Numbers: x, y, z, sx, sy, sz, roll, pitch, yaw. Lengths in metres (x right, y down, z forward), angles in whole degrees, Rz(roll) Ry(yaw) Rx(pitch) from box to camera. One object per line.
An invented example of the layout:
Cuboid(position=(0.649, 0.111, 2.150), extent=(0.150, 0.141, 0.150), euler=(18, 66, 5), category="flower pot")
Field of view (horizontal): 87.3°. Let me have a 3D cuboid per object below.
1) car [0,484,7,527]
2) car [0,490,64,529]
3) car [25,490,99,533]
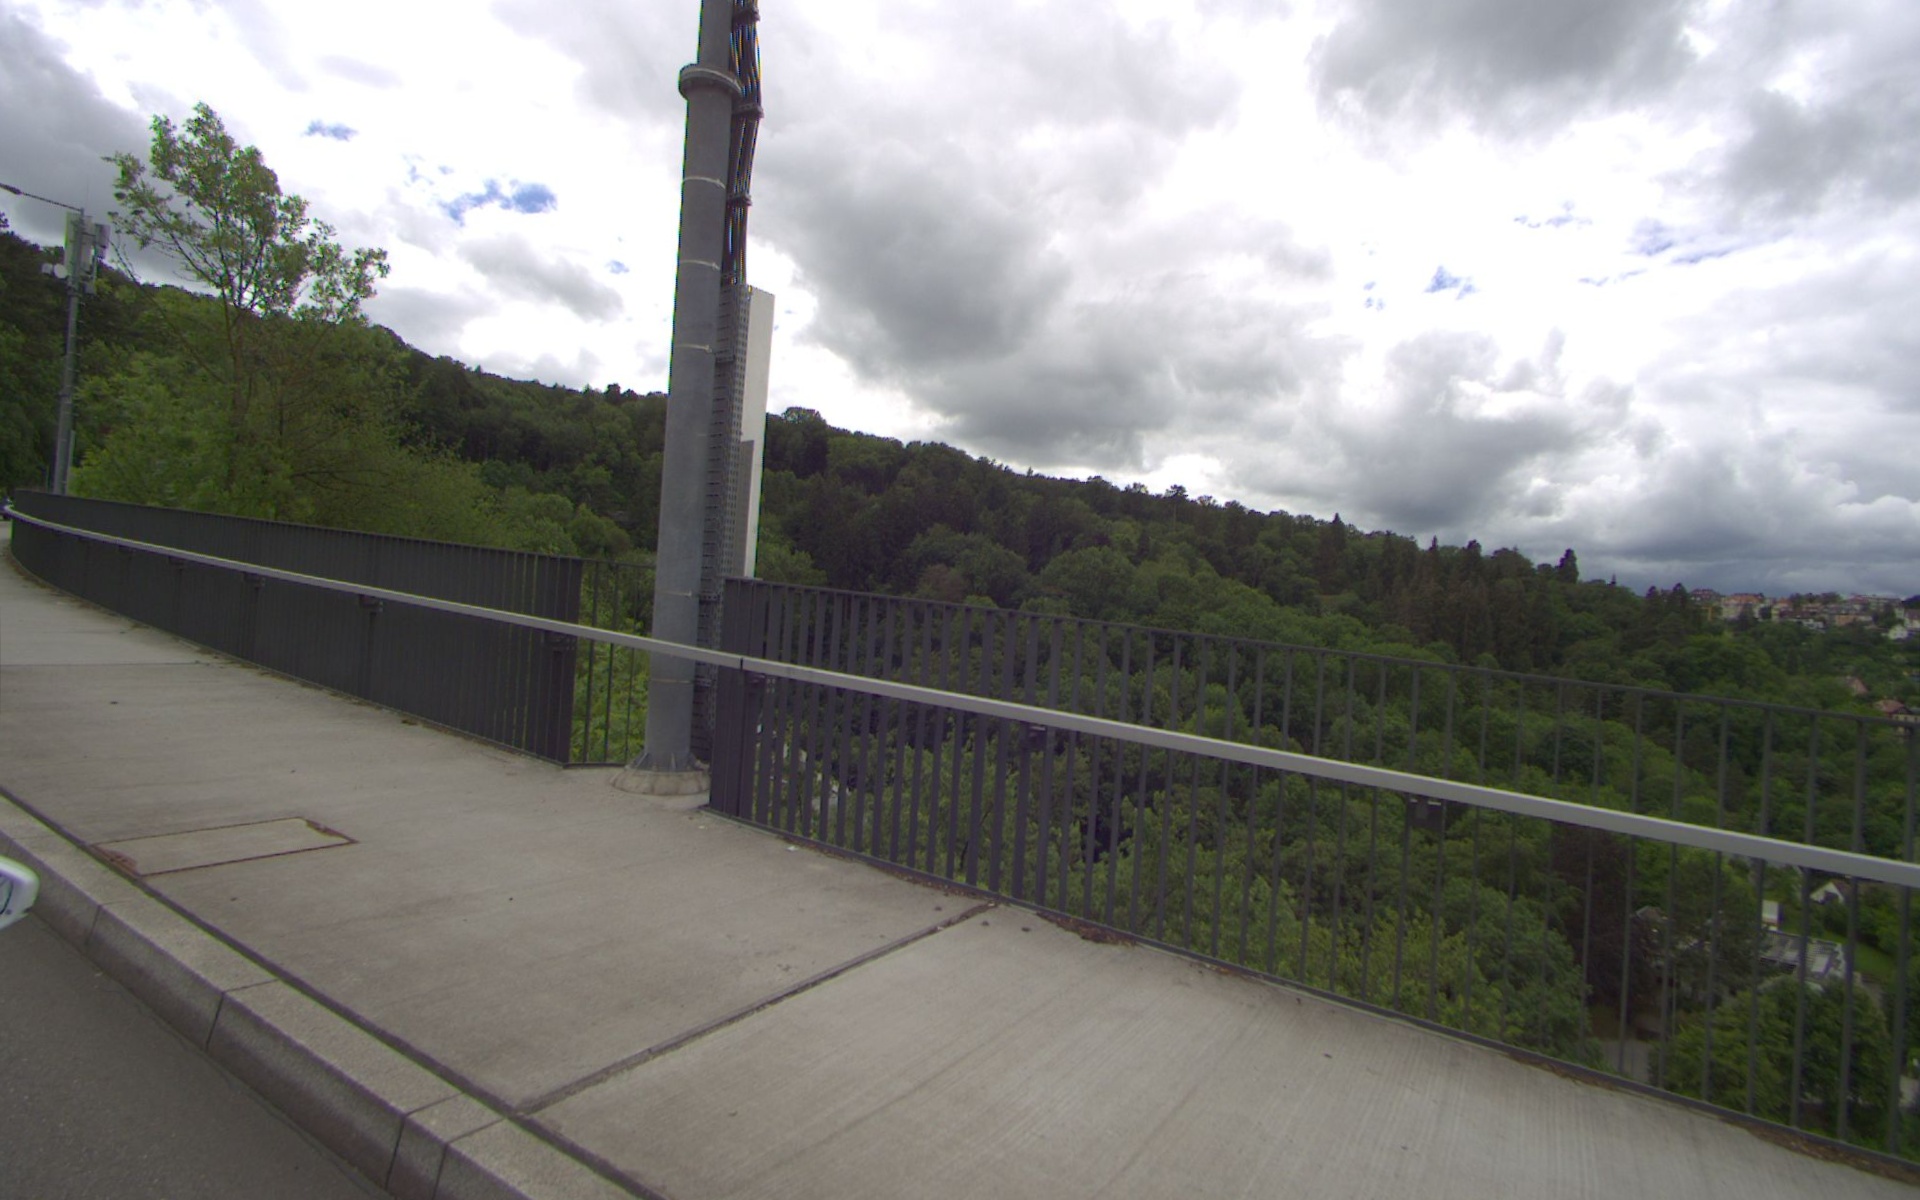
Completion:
Cuboid(position=(-46.309, -4.526, 47.042), extent=(1.981, 2.040, 3.960), euler=(3, 1, -36), category="car")
Cuboid(position=(-52.125, -5.054, 56.527), extent=(1.981, 1.737, 3.964), euler=(8, -1, -34), category="car")
Cuboid(position=(-45.557, -4.460, 51.129), extent=(1.980, 1.737, 3.967), euler=(7, -1, -31), category="car")
